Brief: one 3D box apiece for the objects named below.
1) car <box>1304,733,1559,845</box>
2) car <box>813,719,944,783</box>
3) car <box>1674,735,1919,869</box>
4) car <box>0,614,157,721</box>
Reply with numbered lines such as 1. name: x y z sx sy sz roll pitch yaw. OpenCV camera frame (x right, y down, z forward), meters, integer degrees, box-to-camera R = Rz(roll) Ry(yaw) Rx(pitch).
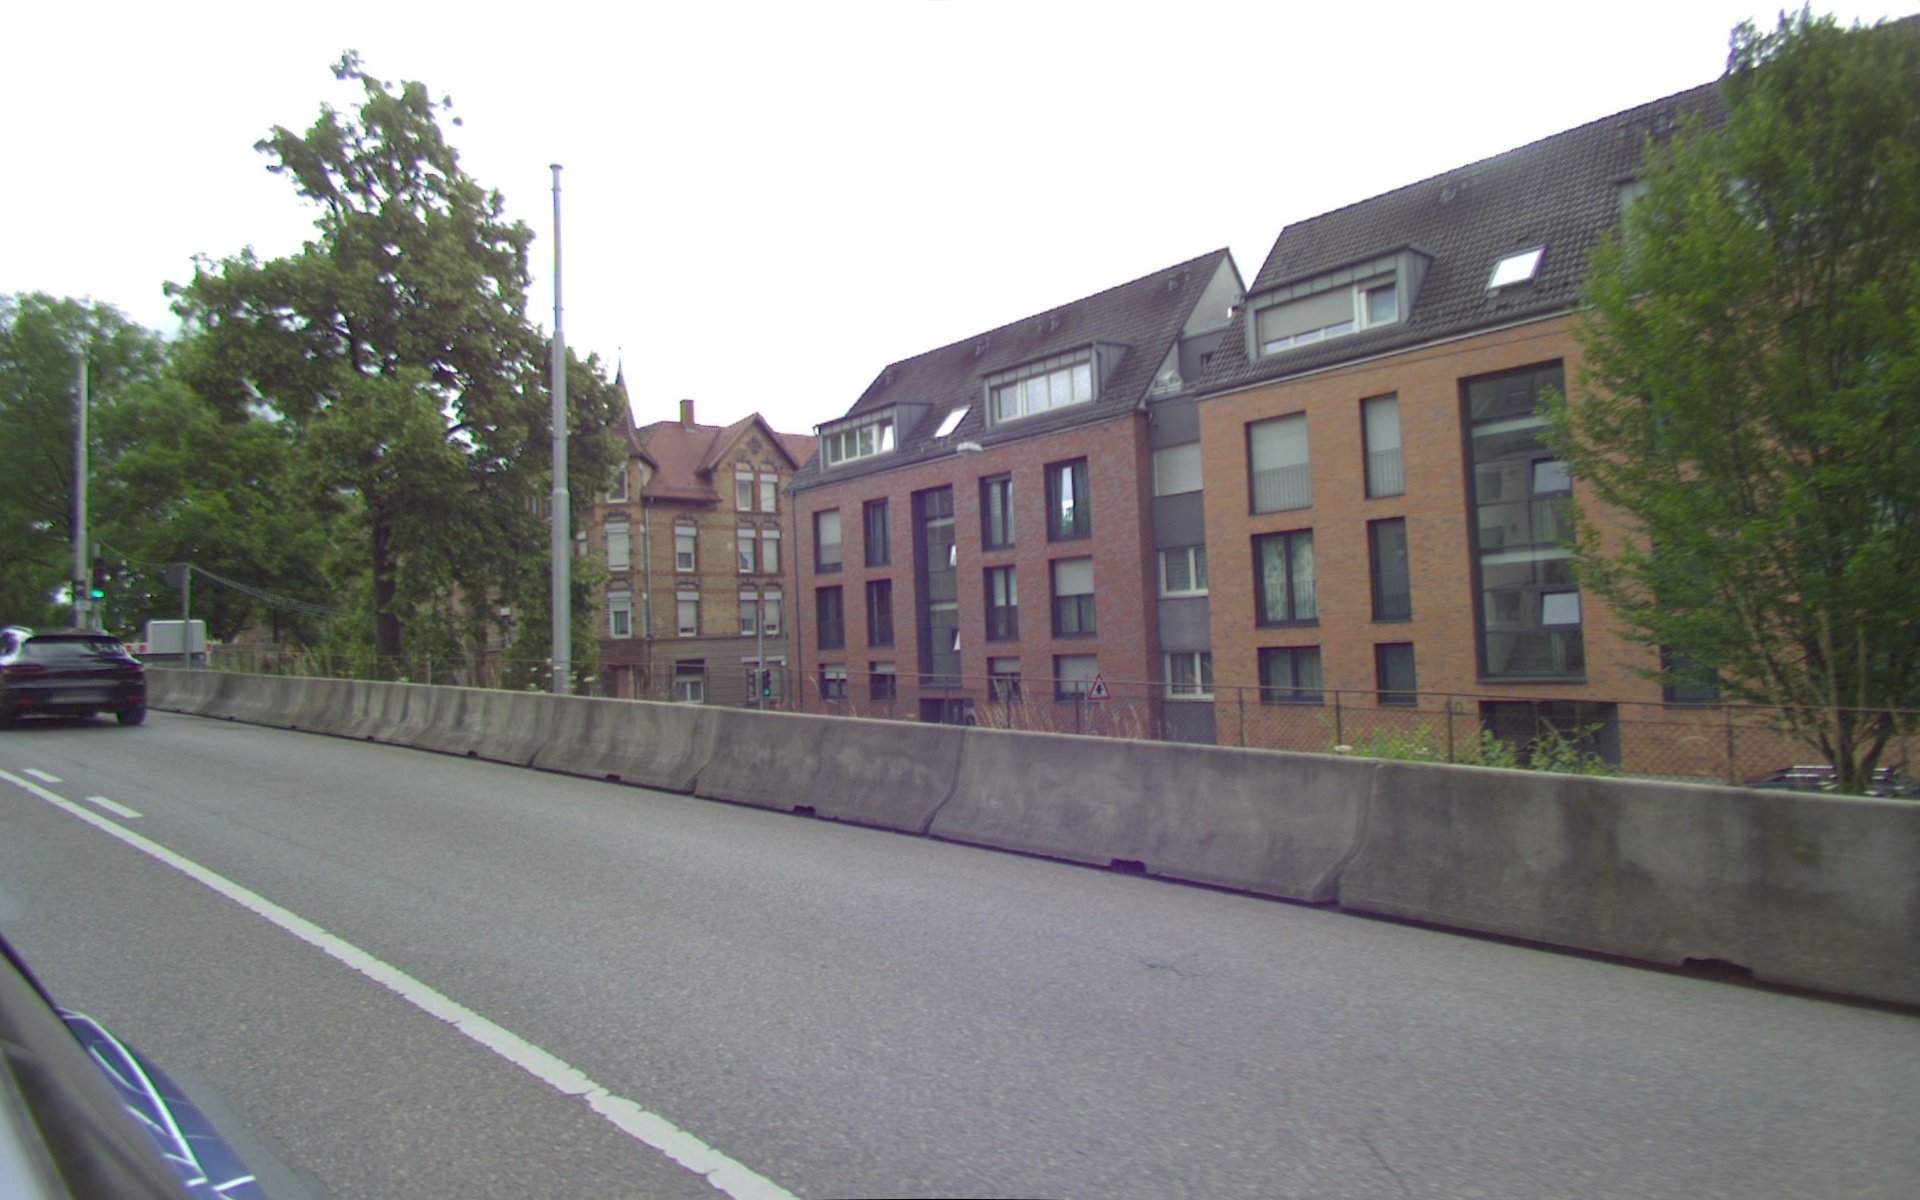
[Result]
1. car: 8.850 3.475 19.220 1.773 1.522 4.002 3 -4 -45
2. car: -2.501 4.481 30.466 4.001 1.522 1.774 -3 -4 45
3. car: 13.032 2.909 14.777 1.773 1.522 4.002 3 -4 -45
4. car: -15.327 1.115 16.972 4.369 1.587 1.963 -3 -4 39
